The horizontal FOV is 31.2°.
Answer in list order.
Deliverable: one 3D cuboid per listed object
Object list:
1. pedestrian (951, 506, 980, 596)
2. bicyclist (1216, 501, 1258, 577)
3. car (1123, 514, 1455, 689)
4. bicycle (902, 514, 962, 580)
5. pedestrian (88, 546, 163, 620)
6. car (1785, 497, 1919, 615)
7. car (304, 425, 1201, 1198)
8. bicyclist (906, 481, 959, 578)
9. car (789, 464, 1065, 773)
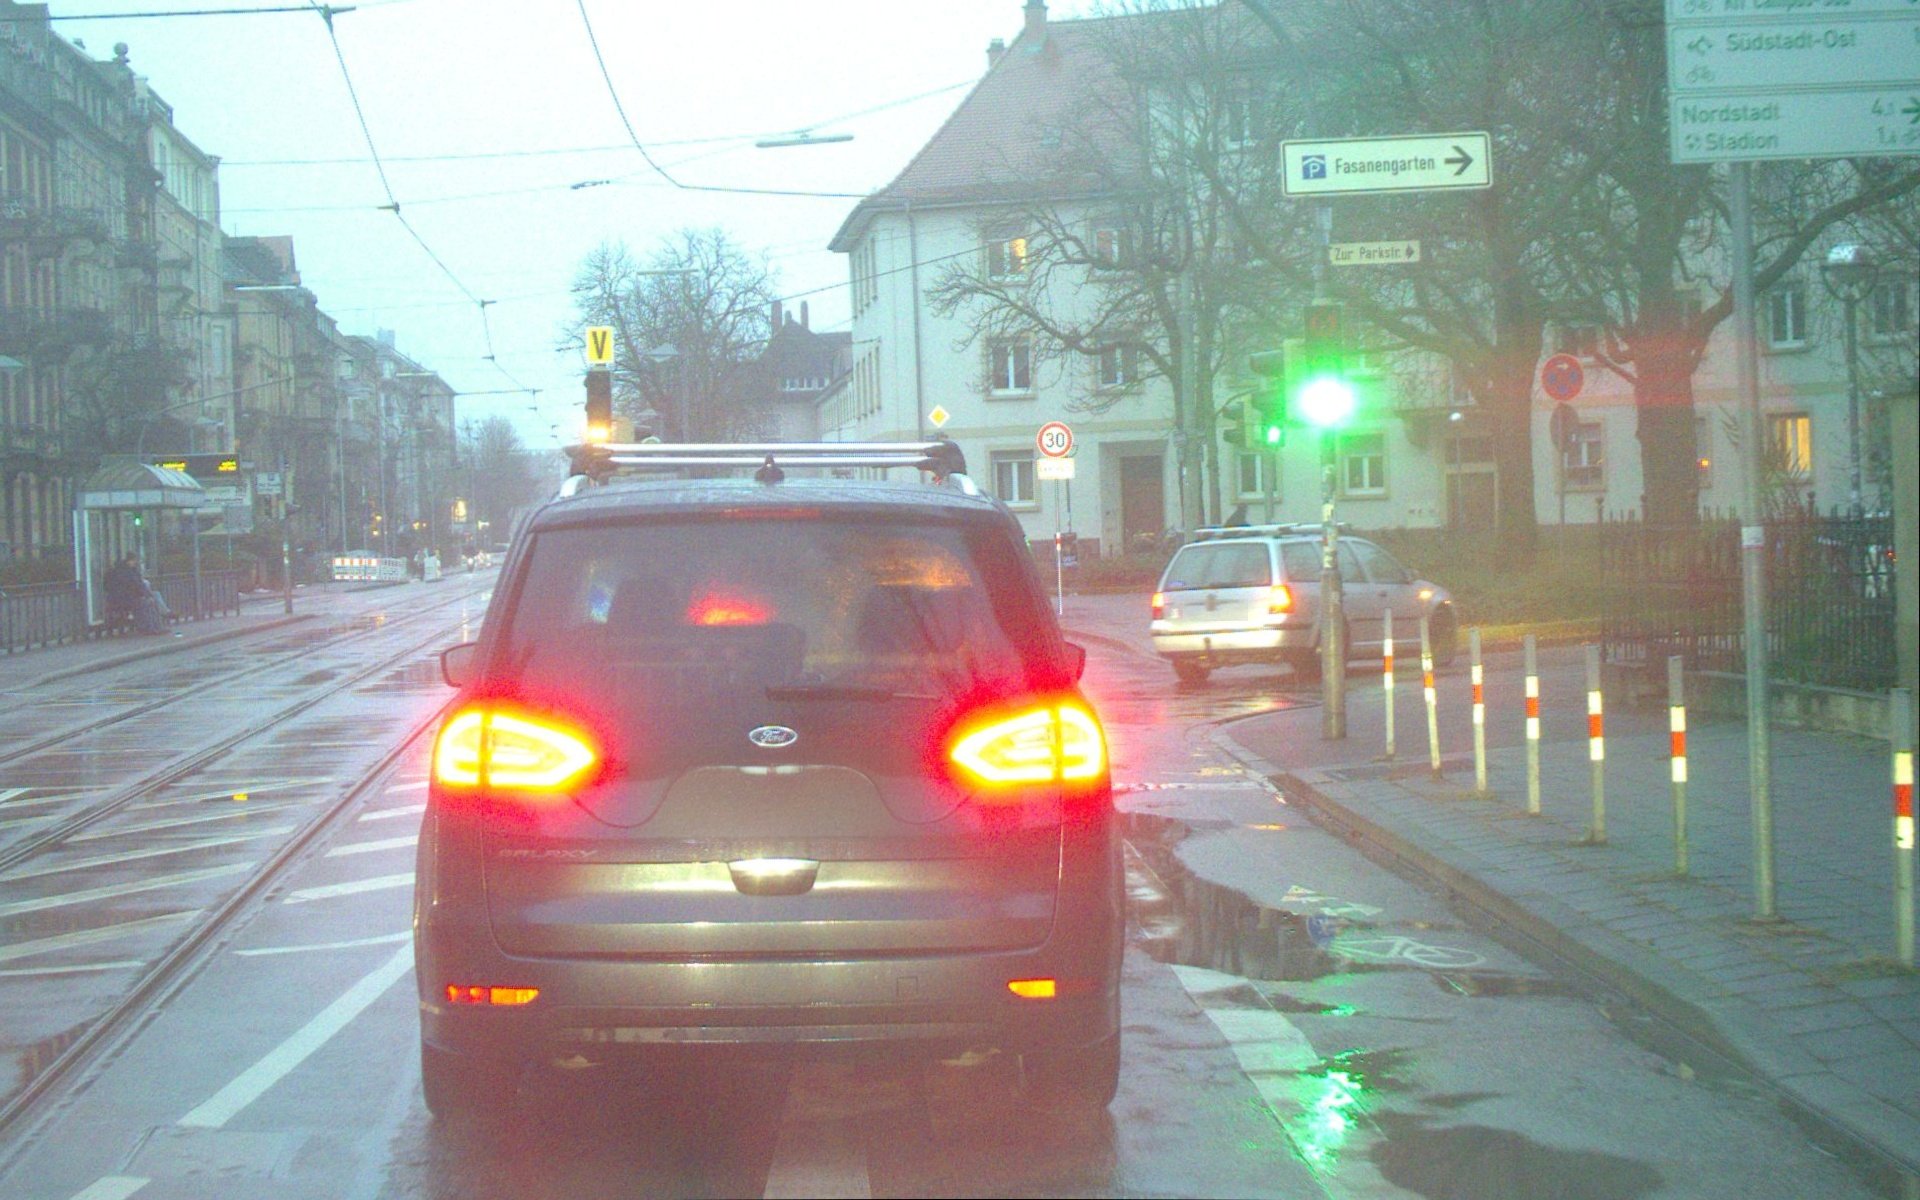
[{"bbox_3d":[0.120,-1.091,76.684,0.596,2.007,0.631,-1,0,-1],"label":"pedestrian"},{"bbox_3d":[7.009,-1.541,86.984,0.808,1.912,0.707,-1,1,27],"label":"bicyclist"},{"bbox_3d":[3.362,-0.014,34.537,1.712,1.656,3.993,-1,1,32],"label":"car"},{"bbox_3d":[-0.504,-0.944,60.280,0.716,1.108,1.942,2,1,-9],"label":"bicycle"},{"bbox_3d":[-13.766,-0.284,56.748,1.047,1.196,0.885,-1,0,-4],"label":"pedestrian"},{"bbox_3d":[11.986,-0.576,41.936,3.988,1.371,1.669,-2,1,-40],"label":"car"},{"bbox_3d":[-0.609,0.451,10.418,2.103,1.810,4.661,0,1,-3],"label":"car"},{"bbox_3d":[-0.491,-1.228,60.253,0.716,1.657,1.057,2,1,-9],"label":"bicyclist"},{"bbox_3d":[-0.322,0.101,24.744,1.708,2.007,4.300,-1,1,-4],"label":"car"}]
